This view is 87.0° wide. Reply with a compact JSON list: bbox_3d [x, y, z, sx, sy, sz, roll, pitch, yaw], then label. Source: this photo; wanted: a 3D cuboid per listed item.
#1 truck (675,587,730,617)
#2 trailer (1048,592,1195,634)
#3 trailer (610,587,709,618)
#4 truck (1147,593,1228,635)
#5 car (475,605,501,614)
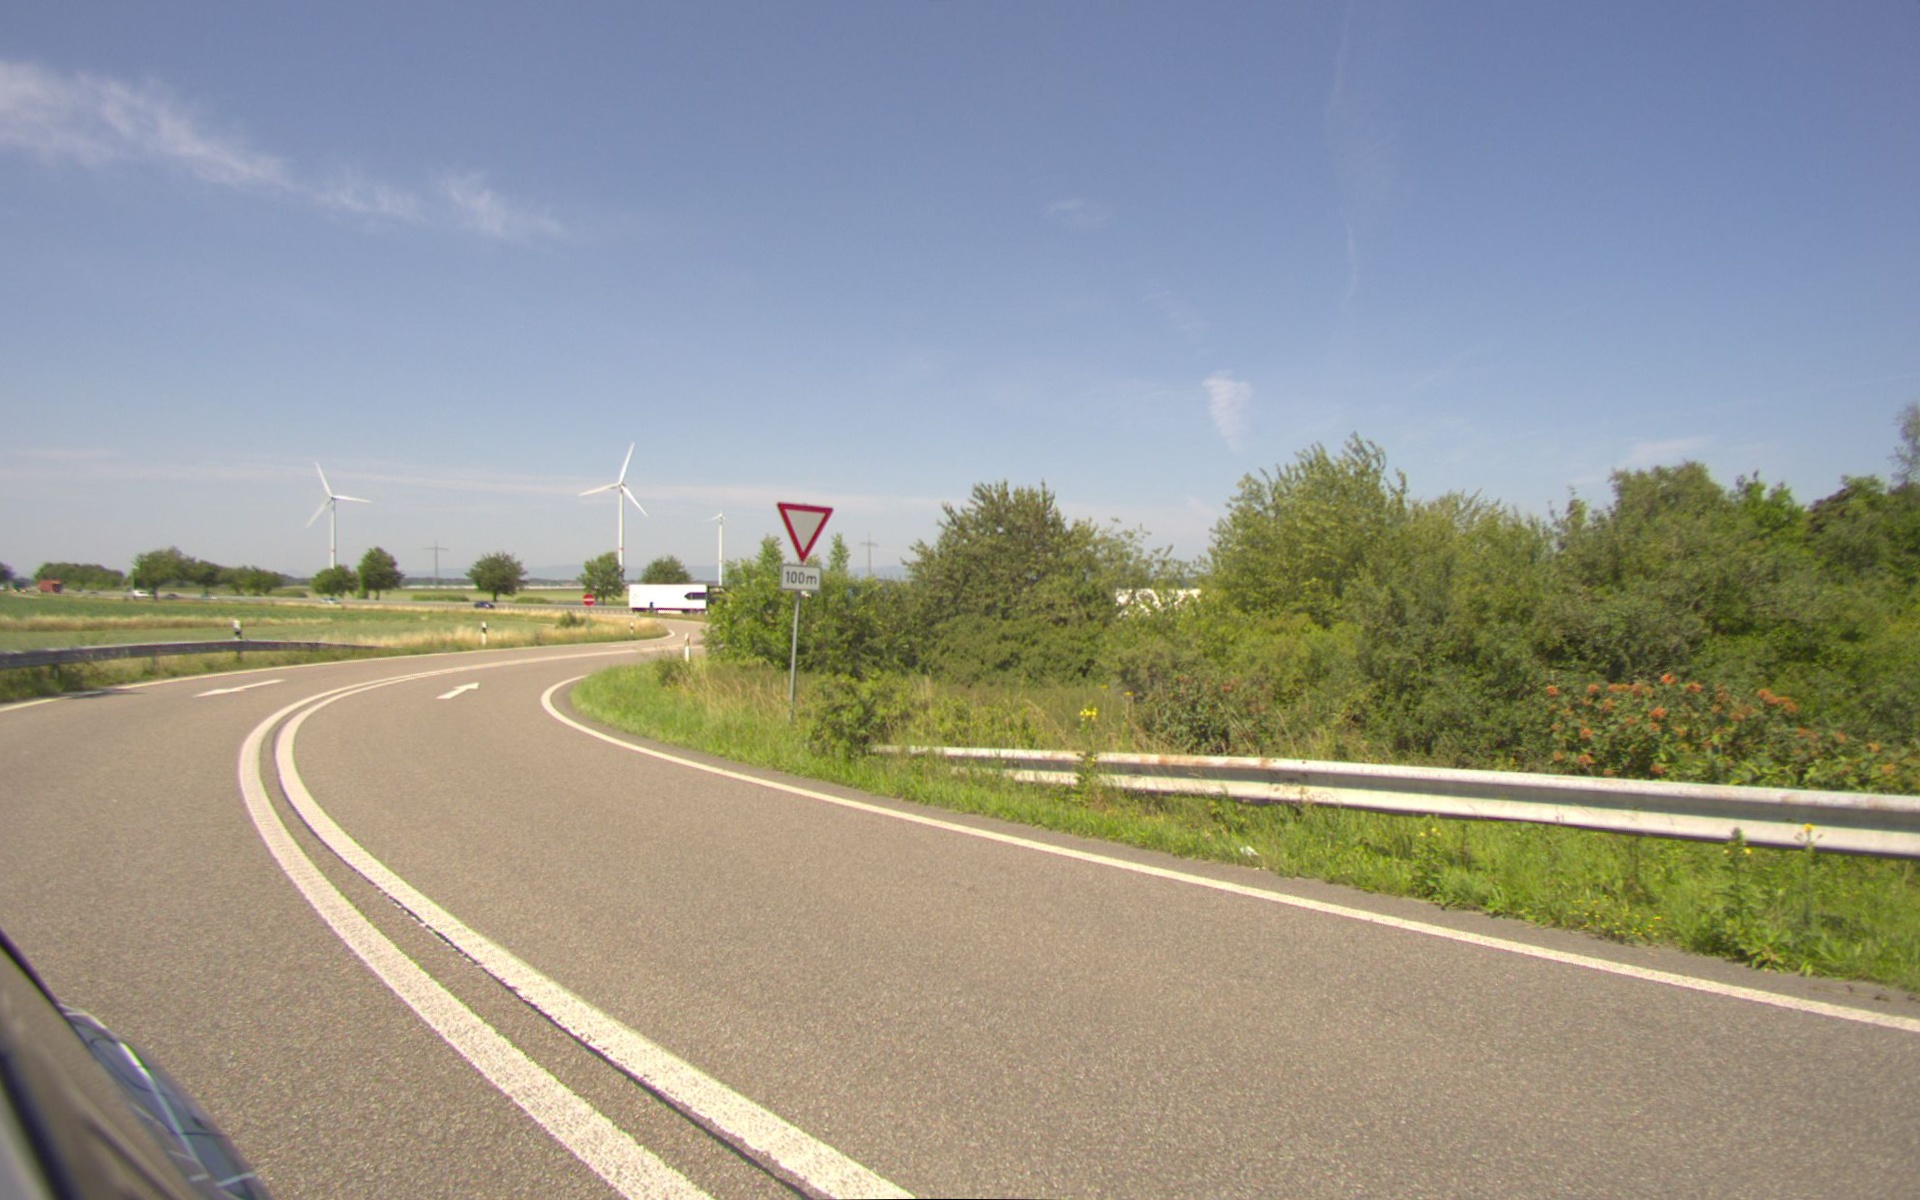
[{"bbox_3d":[-31.896,0.283,125.216,6.211,3.544,3.084,1,-1,30],"label":"truck"},{"bbox_3d":[15.253,1.183,96.647,13.765,3.672,3.068,1,-1,33],"label":"trailer"},{"bbox_3d":[-38.460,0.269,129.061,14.457,3.672,3.071,1,-1,30],"label":"trailer"},{"bbox_3d":[20.903,1.267,92.958,6.611,3.693,3.080,1,-1,33],"label":"truck"},{"bbox_3d":[-72.313,1.437,154.952,3.984,1.364,1.664,1,0,30],"label":"car"}]
